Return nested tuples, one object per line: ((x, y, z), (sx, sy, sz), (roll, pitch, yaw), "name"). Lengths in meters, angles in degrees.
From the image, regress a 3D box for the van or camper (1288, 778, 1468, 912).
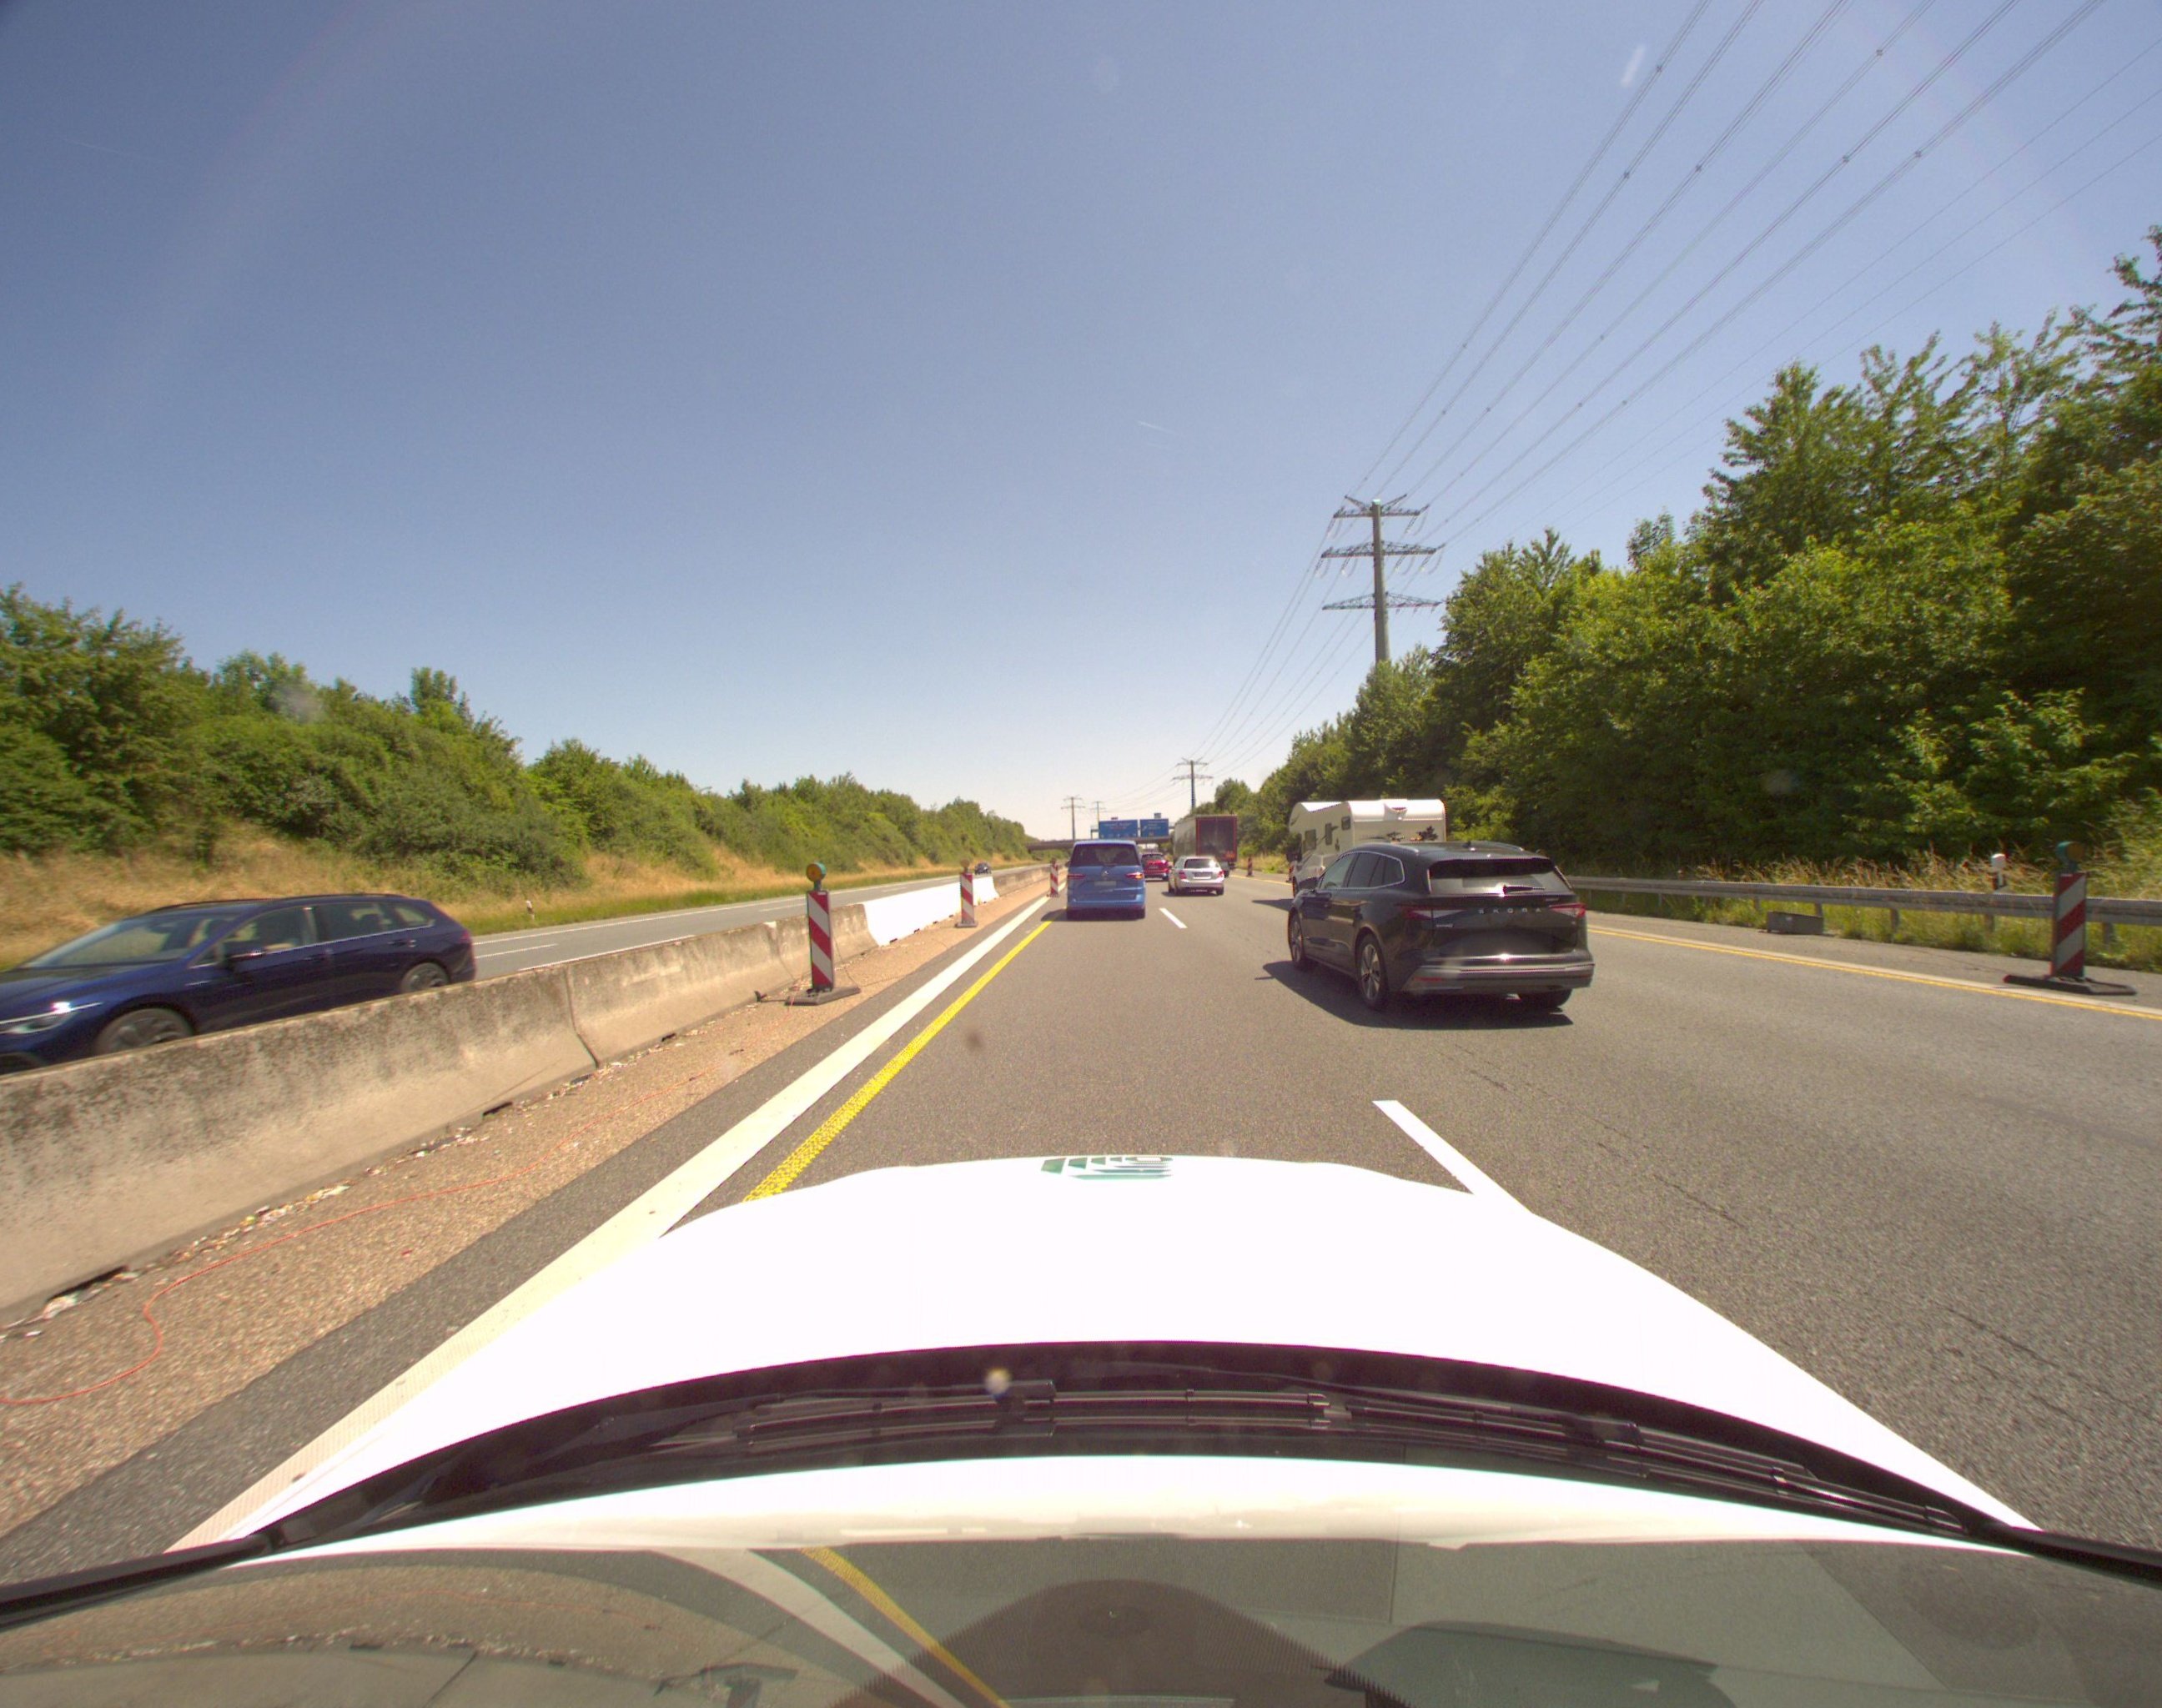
((7.725, -0.186, 22.358), (2.360, 3.043, 7.635), (0, 0, 2), "van or camper")

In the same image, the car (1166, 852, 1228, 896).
((4.289, 0.711, 30.700), (1.765, 1.517, 4.359), (0, 0, 0), "car")

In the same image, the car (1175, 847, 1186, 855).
((21.747, -0.707, 178.404), (1.868, 1.671, 4.359), (0, 0, 0), "car")

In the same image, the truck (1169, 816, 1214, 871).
((8.425, -0.747, 62.615), (2.724, 4.047, 5.792), (0, 0, 0), "truck")

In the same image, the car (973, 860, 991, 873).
((-12.450, 1.589, 102.677), (1.703, 1.464, 3.849), (-3, 0, 0), "car")

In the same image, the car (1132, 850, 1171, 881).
((3.977, 0.655, 46.728), (1.868, 1.671, 4.359), (0, 0, 0), "car")

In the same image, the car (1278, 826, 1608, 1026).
((3.549, 0.611, 8.997), (1.695, 1.655, 4.429), (0, 0, 0), "car")

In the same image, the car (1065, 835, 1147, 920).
((0.593, 0.546, 20.744), (1.868, 1.912, 4.359), (0, 0, 0), "car")

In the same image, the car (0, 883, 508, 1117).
((-8.253, 1.149, 8.034), (1.855, 1.490, 4.495), (-3, 0, 2), "car")

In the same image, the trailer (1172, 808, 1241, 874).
((8.444, -0.766, 56.655), (2.774, 4.047, 13.109), (0, 0, 0), "trailer")
